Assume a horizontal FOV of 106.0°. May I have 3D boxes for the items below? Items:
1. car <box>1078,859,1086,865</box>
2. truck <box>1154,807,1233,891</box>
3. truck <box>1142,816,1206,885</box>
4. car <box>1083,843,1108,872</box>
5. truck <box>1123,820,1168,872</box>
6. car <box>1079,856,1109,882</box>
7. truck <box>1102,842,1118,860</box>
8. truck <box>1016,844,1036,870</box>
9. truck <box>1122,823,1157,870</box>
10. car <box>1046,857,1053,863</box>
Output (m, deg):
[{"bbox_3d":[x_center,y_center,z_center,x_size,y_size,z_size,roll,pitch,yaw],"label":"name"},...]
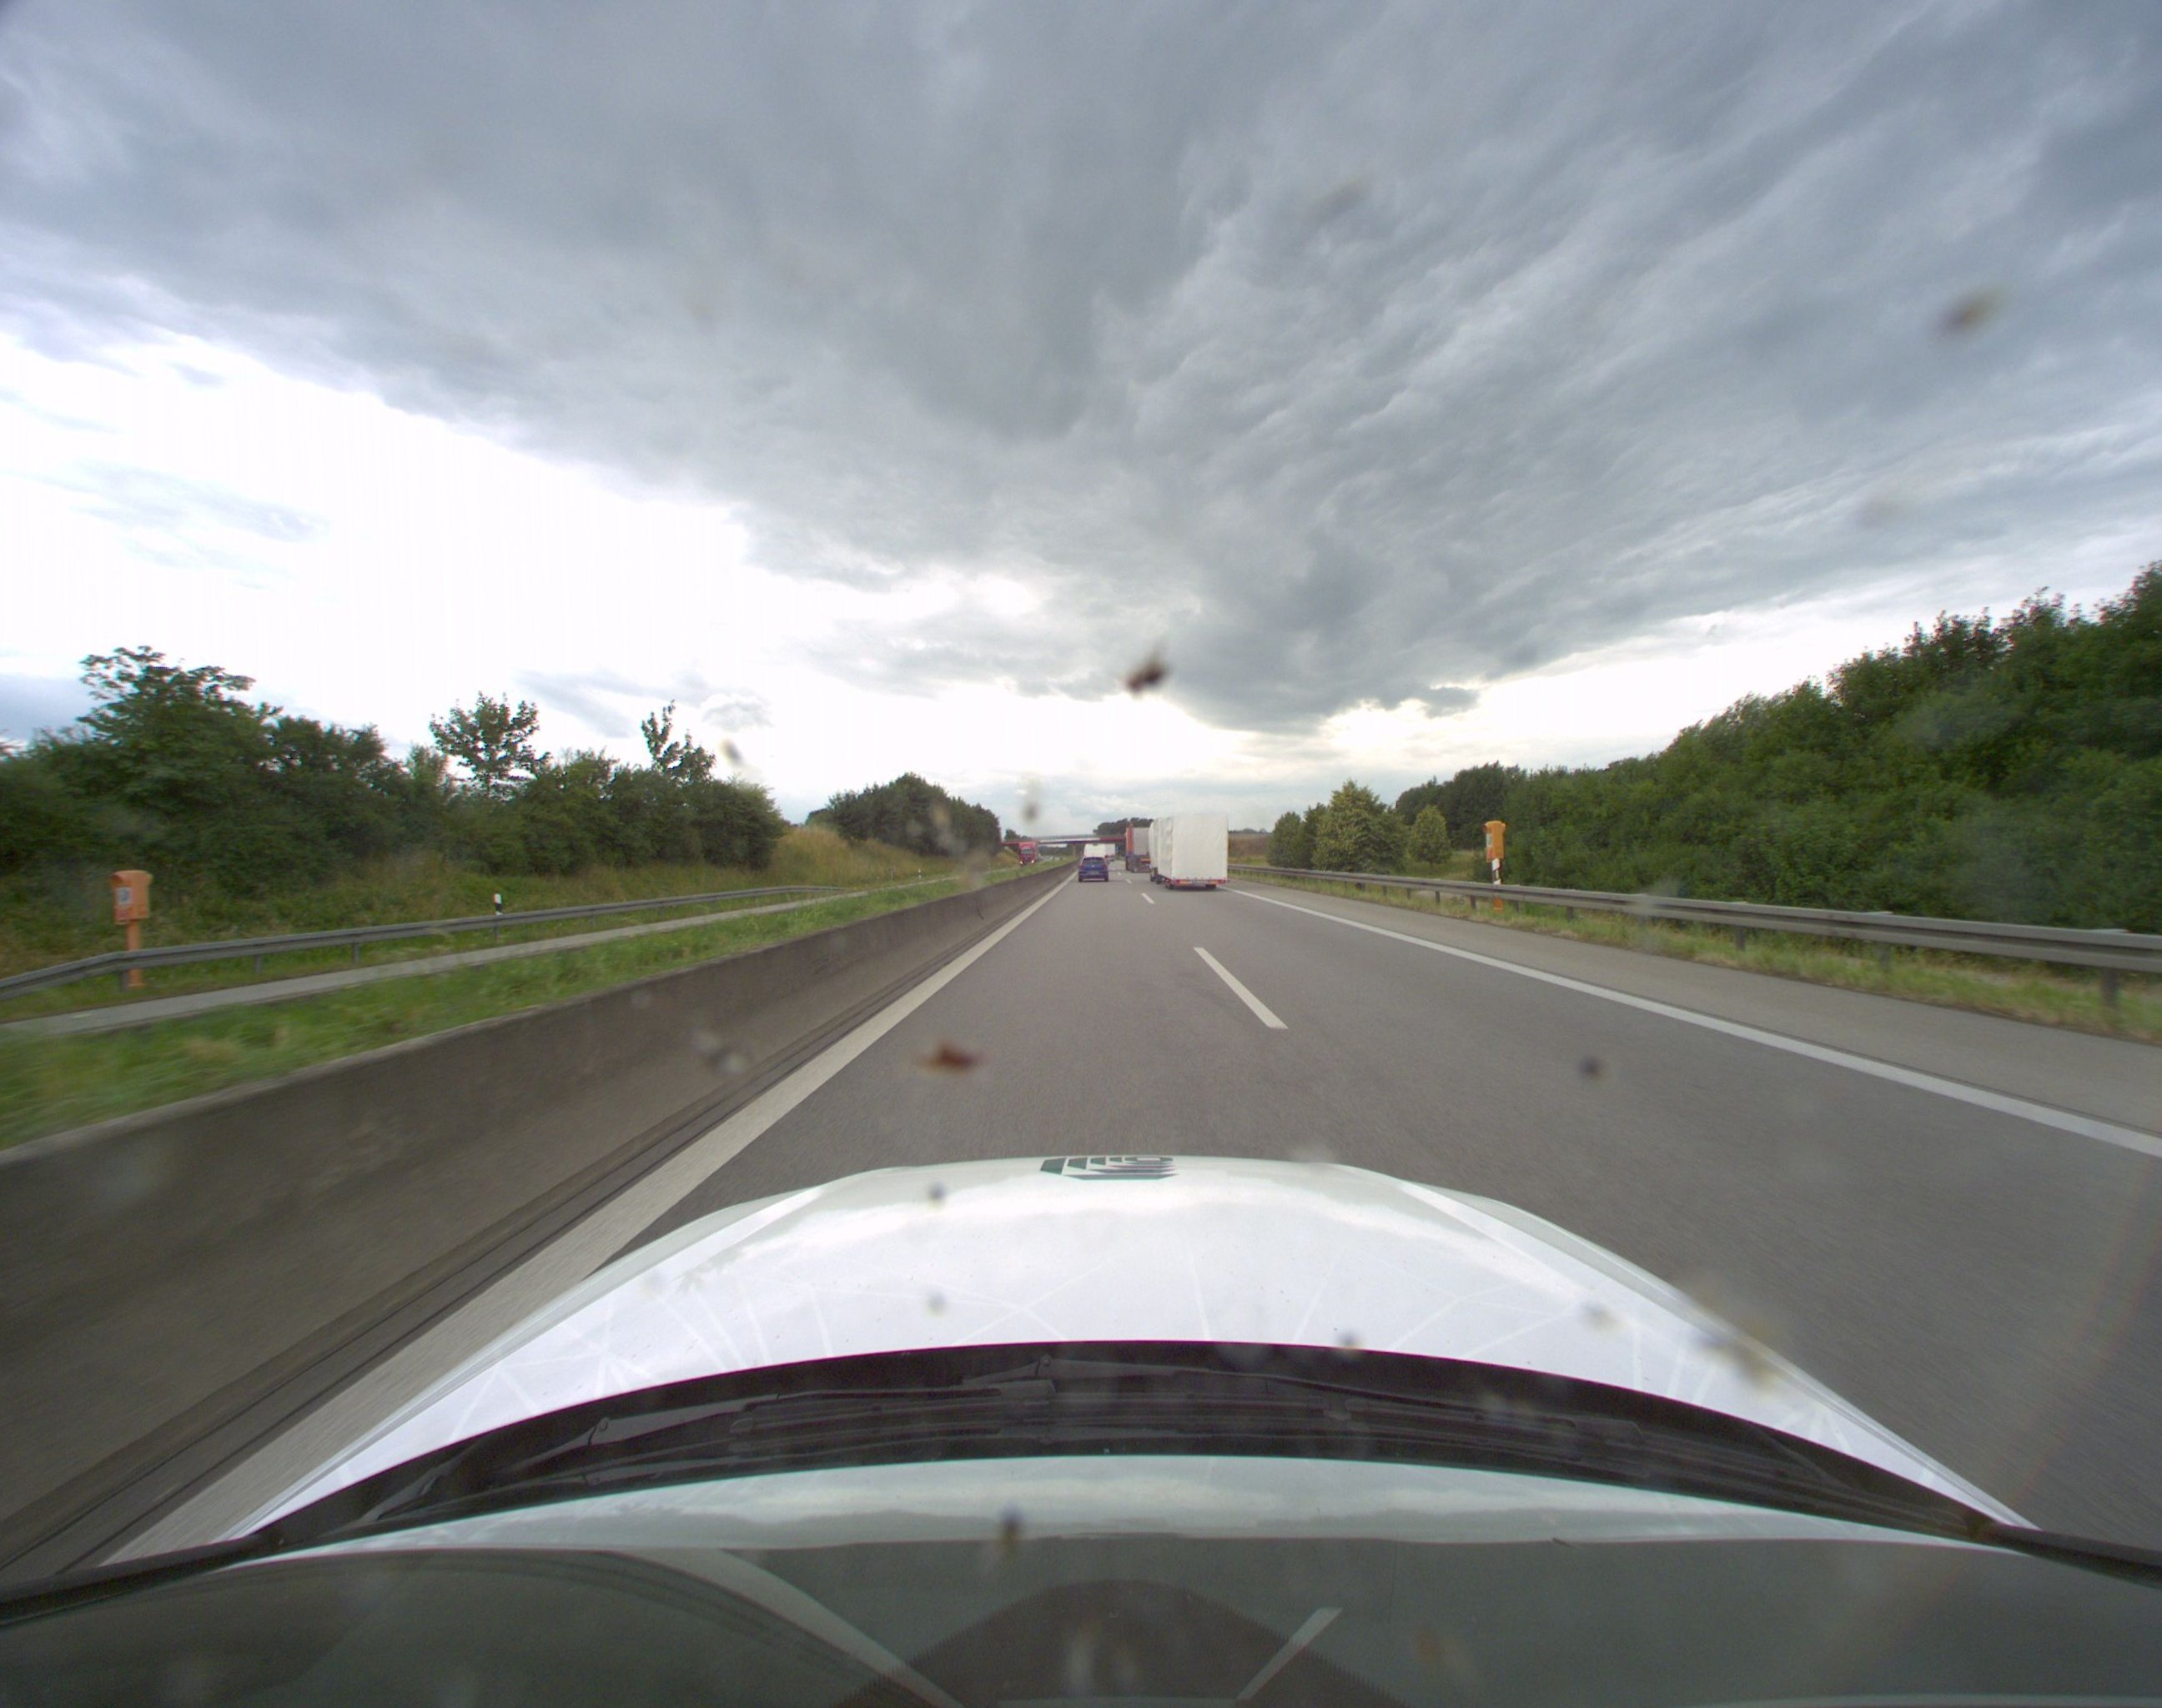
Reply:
[{"bbox_3d":[0.333,2.173,220.209,1.987,1.684,3.999,-1,0,0],"label":"car"},{"bbox_3d":[4.695,-0.176,35.279,2.407,3.222,7.142,-1,0,0],"label":"truck"},{"bbox_3d":[4.710,-0.161,42.475,2.422,3.243,7.246,-1,0,0],"label":"truck"},{"bbox_3d":[1.304,0.324,75.558,2.123,2.482,5.839,-2,0,0],"label":"car"},{"bbox_3d":[5.412,-0.653,70.102,2.665,4.045,11.102,-2,0,-1],"label":"truck"},{"bbox_3d":[0.738,0.829,46.644,1.658,1.407,3.648,-1,0,1],"label":"car"},{"bbox_3d":[6.510,-0.611,183.705,3.101,3.689,9.319,-3,0,-1],"label":"truck"},{"bbox_3d":[-9.104,0.406,135.772,2.697,4.088,5.165,-4,0,0],"label":"truck"},{"bbox_3d":[5.346,-0.682,75.506,2.665,4.045,5.510,-2,0,-1],"label":"truck"},{"bbox_3d":[-8.535,1.624,219.269,1.641,1.409,3.886,-4,0,-1],"label":"car"}]
